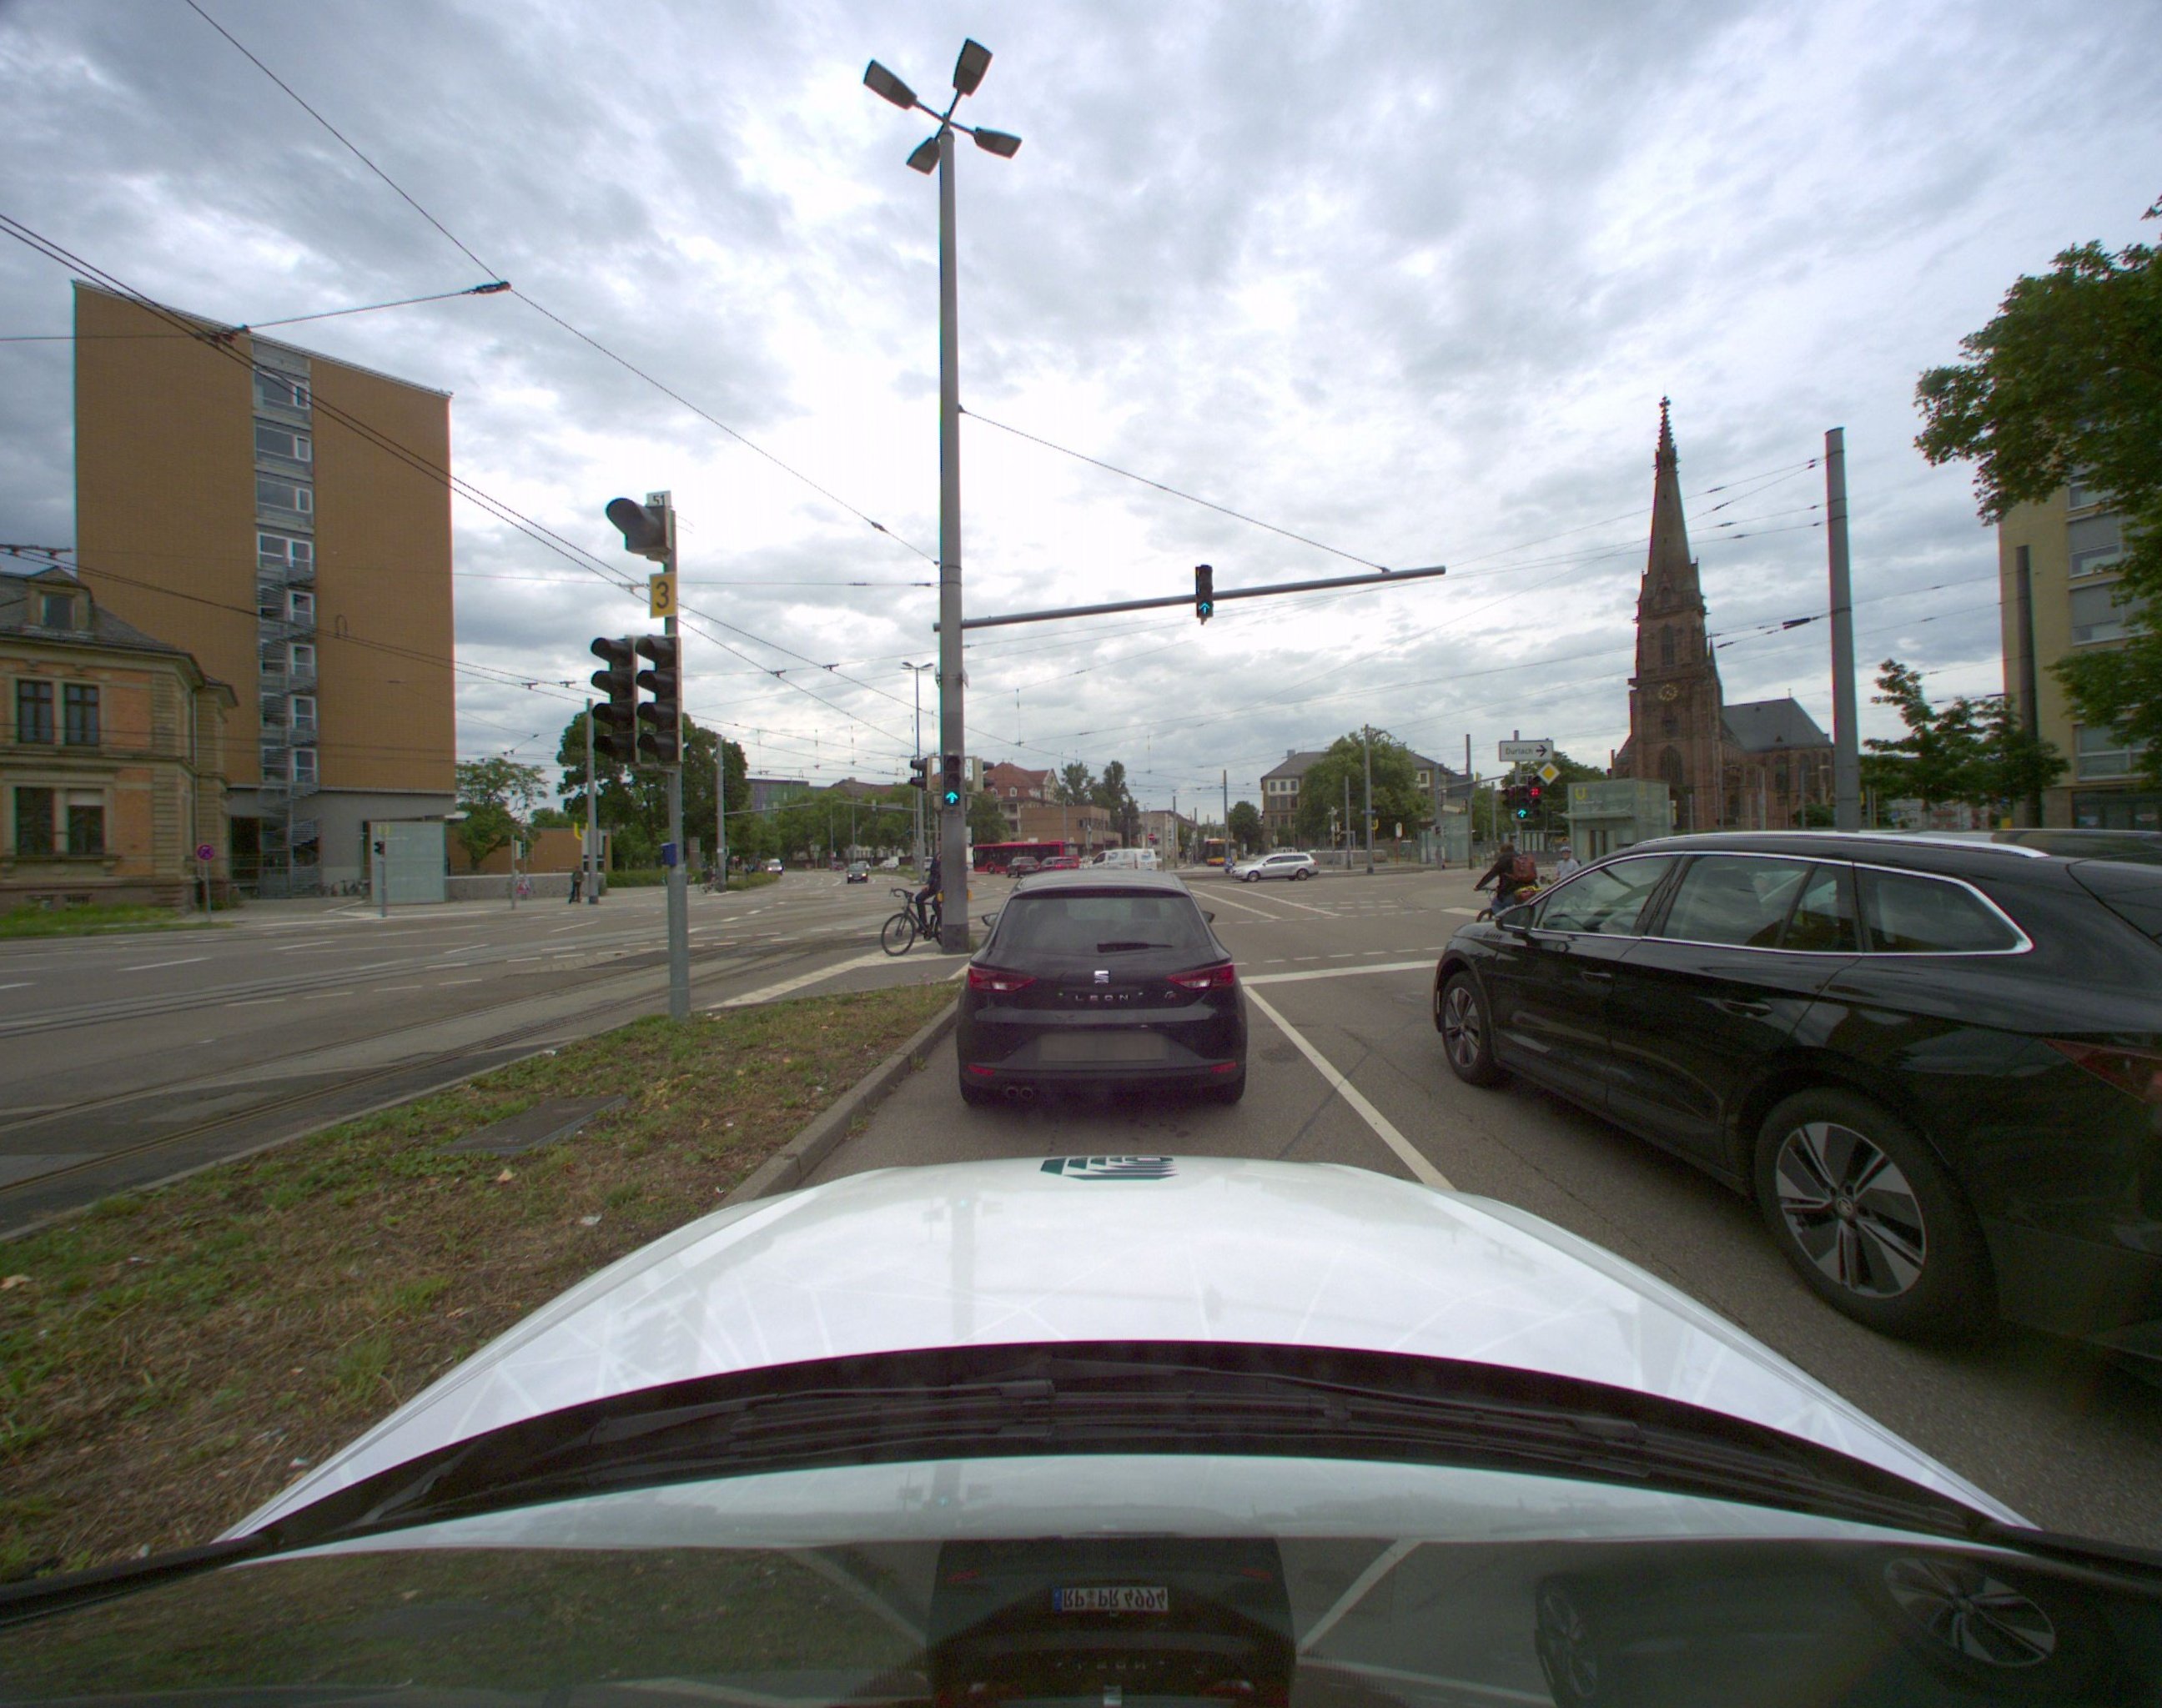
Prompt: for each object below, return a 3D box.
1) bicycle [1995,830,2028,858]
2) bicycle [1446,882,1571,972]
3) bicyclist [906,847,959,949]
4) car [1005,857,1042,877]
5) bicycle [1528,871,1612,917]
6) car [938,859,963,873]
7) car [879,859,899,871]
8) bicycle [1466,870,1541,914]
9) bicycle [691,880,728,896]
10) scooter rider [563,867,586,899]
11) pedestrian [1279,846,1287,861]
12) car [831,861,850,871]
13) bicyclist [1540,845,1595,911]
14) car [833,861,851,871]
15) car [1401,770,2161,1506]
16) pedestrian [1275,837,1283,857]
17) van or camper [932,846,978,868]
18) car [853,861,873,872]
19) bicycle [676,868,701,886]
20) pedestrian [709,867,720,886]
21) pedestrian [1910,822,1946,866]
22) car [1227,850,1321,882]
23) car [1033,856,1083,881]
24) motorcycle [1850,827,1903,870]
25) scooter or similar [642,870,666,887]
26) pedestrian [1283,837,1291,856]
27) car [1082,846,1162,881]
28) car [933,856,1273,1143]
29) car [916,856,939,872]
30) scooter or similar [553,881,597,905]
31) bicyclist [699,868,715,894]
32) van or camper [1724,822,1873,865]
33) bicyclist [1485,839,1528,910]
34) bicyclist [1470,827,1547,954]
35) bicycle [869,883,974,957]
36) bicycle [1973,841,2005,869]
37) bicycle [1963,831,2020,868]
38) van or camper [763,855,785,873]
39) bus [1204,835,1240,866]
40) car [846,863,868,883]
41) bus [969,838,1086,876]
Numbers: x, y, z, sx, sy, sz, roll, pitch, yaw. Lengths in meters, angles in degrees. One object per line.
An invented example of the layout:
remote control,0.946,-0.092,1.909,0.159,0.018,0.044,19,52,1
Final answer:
bicycle,40.824,-0.453,35.727,2.048,1.169,0.663,-2,0,-34
bicycle,5.980,0.975,11.538,0.623,1.055,2.125,-2,0,0
bicyclist,-2.468,0.712,13.560,0.658,1.639,0.512,-2,-1,-38
car,-4.792,1.038,67.254,1.999,1.566,4.178,-2,0,-19
bicycle,11.650,0.946,19.410,1.946,0.998,0.598,-1,0,-19
car,-15.236,1.392,94.772,2.002,1.539,3.969,-1,0,-23
car,-29.335,1.735,124.562,2.005,1.750,3.963,-1,0,-28
bicycle,10.720,0.952,20.670,1.996,0.998,0.575,-2,0,-25
bicycle,-24.912,2.296,54.700,2.117,1.029,0.790,1,-4,-16
scooter rider,-25.918,1.482,41.674,0.562,1.627,0.826,-2,0,23
pedestrian,25.172,-0.034,101.277,0.817,1.853,1.026,-2,0,18
car,-41.031,2.059,138.930,2.007,1.772,3.959,-1,0,-33
bicyclist,11.571,0.552,19.385,0.886,1.522,0.668,-1,0,-19
car,-43.251,2.145,147.401,2.009,1.750,3.956,-1,0,-36
car,3.377,0.616,3.913,1.897,1.658,4.514,-2,0,0
pedestrian,44.187,-1.537,182.057,1.381,4.253,1.347,-2,0,2
van or camper,-21.469,0.493,139.052,7.193,3.332,2.841,-2,-1,-43
car,-33.848,1.913,126.378,2.006,1.640,3.961,-1,0,-30
bicycle,-34.445,2.031,71.539,0.842,1.449,2.259,-2,0,7
pedestrian,-34.499,2.131,76.643,0.747,1.733,0.683,-2,0,-13
pedestrian,34.296,-0.384,32.970,0.910,1.737,0.805,-2,0,-33
car,10.408,0.641,44.135,4.608,1.482,1.722,-3,0,-7
car,-1.648,0.979,56.721,1.867,1.600,4.169,-2,0,-26
motorcycle,27.181,-0.203,27.808,2.304,1.366,1.035,-3,0,-40
scooter or similar,-36.086,2.061,68.829,1.781,1.302,0.624,-2,0,-30
pedestrian,45.917,-1.635,181.672,1.302,4.253,1.347,-2,0,2
car,2.424,0.585,49.397,2.010,2.019,4.973,-2,0,-40
car,0.174,0.758,6.215,1.739,1.464,4.002,-1,0,2
car,-20.309,1.325,107.579,2.004,2.013,3.966,-1,0,-26
scooter or similar,-25.898,1.983,41.686,0.567,1.165,1.917,-2,0,23
bicyclist,-25.097,1.813,54.682,0.814,1.657,0.789,-4,-3,-17
van or camper,37.319,-0.527,42.575,5.402,1.978,2.183,-2,0,20
bicyclist,10.831,0.511,20.736,0.736,1.751,0.581,-3,0,-25
bicyclist,5.967,0.490,11.403,0.613,1.690,0.806,-2,0,-1
bicycle,-2.614,1.055,13.437,1.622,1.070,0.522,-2,-1,-38
bicycle,40.495,0.037,36.325,2.048,1.169,0.663,-2,0,-34
bicycle,36.114,-0.186,32.286,2.792,1.377,0.895,-2,0,-29
van or camper,-45.115,1.497,119.645,2.292,2.527,5.522,-3,0,-28
bus,16.397,-0.415,94.064,2.994,3.268,13.093,-2,0,14
car,-18.320,1.547,66.469,1.622,1.515,3.644,-3,0,-17
bus,-5.412,0.368,79.093,12.218,3.298,3.088,-2,-1,37
